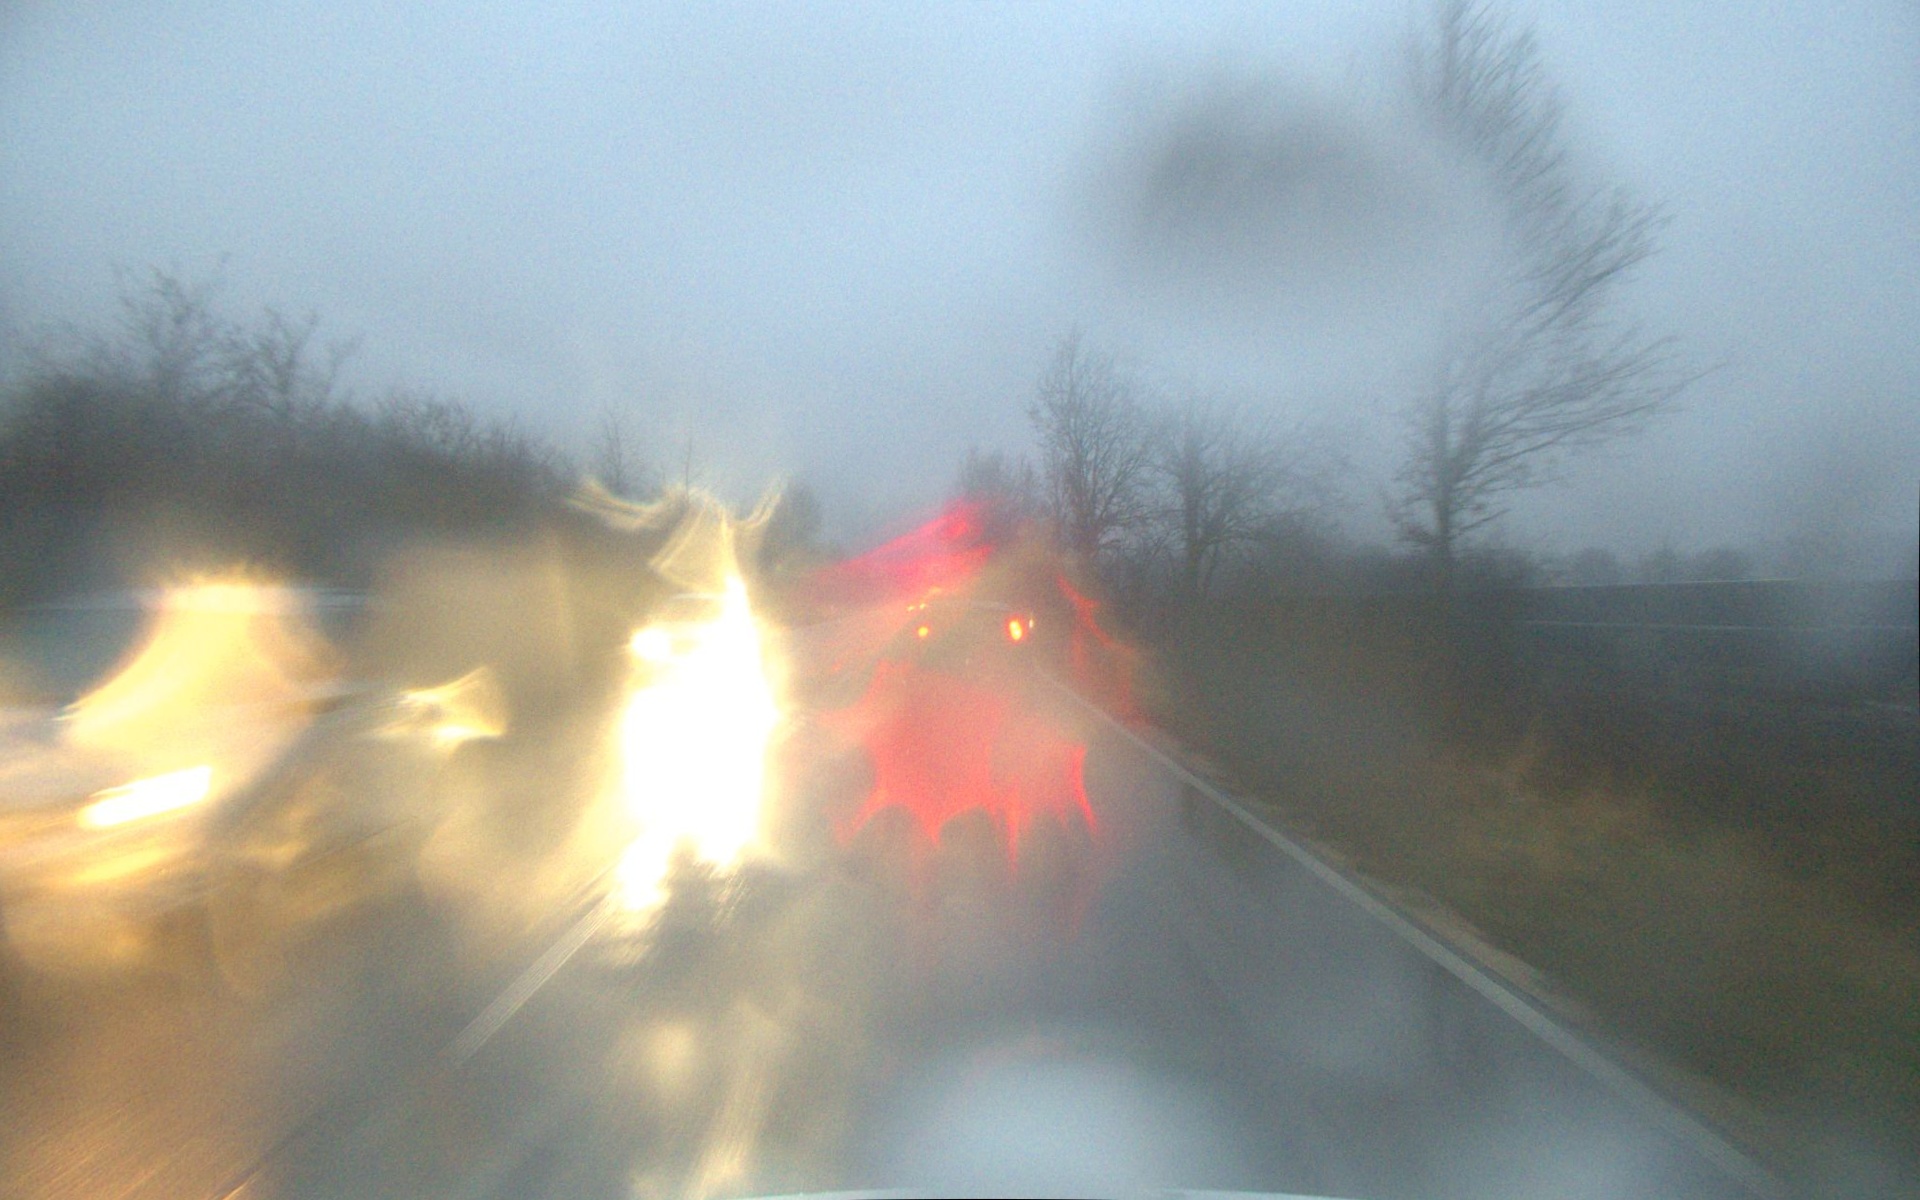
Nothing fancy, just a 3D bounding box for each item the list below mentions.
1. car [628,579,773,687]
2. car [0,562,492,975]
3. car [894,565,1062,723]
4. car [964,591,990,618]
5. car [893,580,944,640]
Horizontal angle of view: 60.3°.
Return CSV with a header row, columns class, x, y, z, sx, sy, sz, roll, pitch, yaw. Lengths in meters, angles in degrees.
class,x,y,z,sx,sy,sz,roll,pitch,yaw
car,-4.382,0.516,28.577,1.722,1.669,4.685,2,0,0
car,-3.733,0.610,8.153,1.788,1.525,4.094,1,0,-2
car,0.232,0.511,21.632,1.952,1.816,4.000,2,0,0
car,1.060,0.289,103.205,1.531,1.619,3.489,2,0,2
car,-1.363,0.315,55.809,1.542,1.907,3.709,2,0,0
